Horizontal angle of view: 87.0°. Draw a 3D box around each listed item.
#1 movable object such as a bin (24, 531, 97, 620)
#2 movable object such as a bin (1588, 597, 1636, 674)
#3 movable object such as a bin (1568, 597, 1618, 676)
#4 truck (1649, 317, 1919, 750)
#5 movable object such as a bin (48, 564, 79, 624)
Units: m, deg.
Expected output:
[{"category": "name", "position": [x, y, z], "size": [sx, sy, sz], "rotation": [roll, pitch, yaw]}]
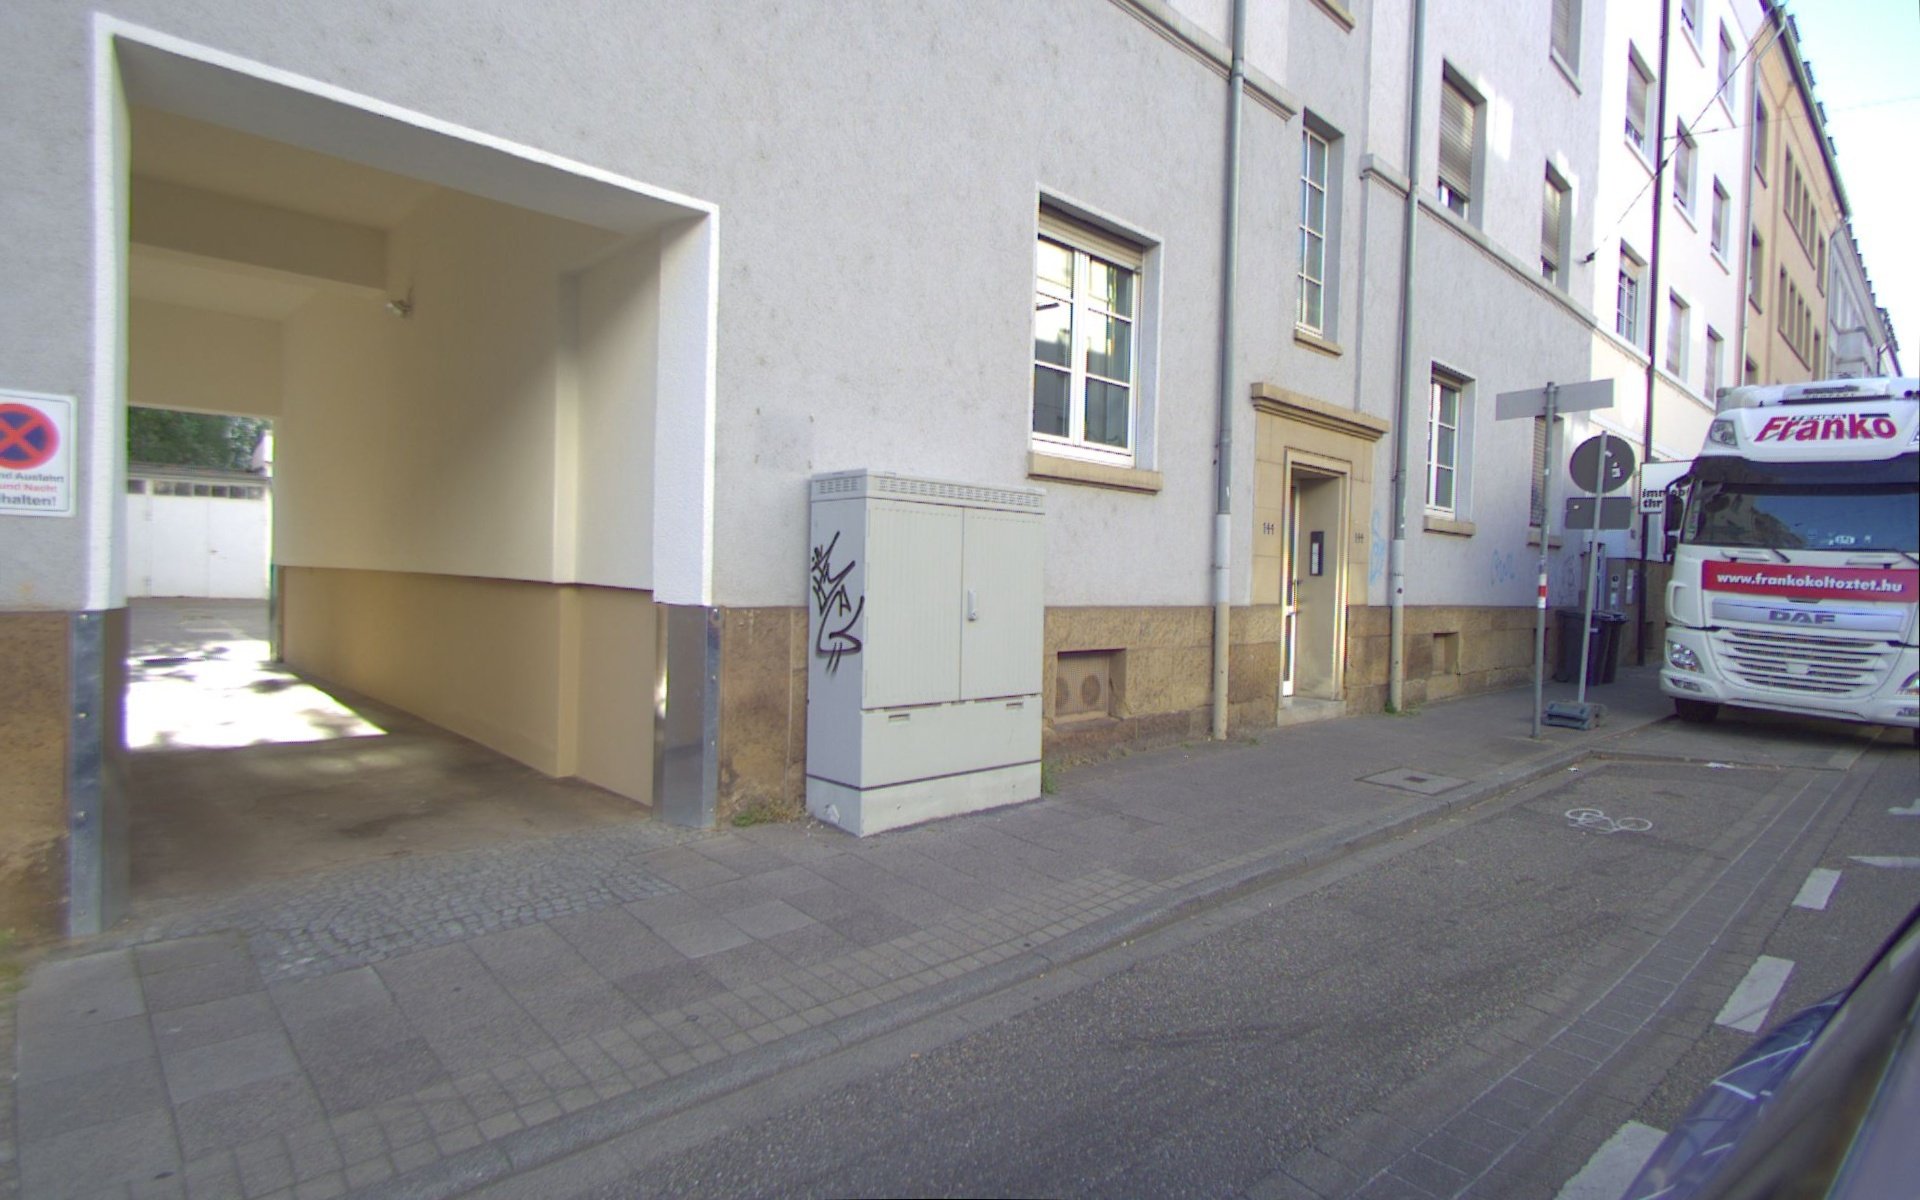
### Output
[{"category": "movable object such as a bin", "position": [-14.893, -0.417, 16.760], "size": [0.874, 1.409, 0.758], "rotation": [0, 4, -44]}, {"category": "movable object such as a bin", "position": [9.650, 0.518, 14.986], "size": [0.511, 1.106, 0.488], "rotation": [0, 0, 45]}, {"category": "movable object such as a bin", "position": [9.127, 0.515, 14.586], "size": [0.511, 1.106, 0.488], "rotation": [0, 0, 45]}, {"category": "truck", "position": [12.579, -0.606, 13.843], "size": [11.511, 4.012, 2.894], "rotation": [0, 0, -44]}, {"category": "movable object such as a bin", "position": [-14.352, -0.101, 16.201], "size": [0.366, 0.919, 0.420], "rotation": [0, 3, -44]}]
